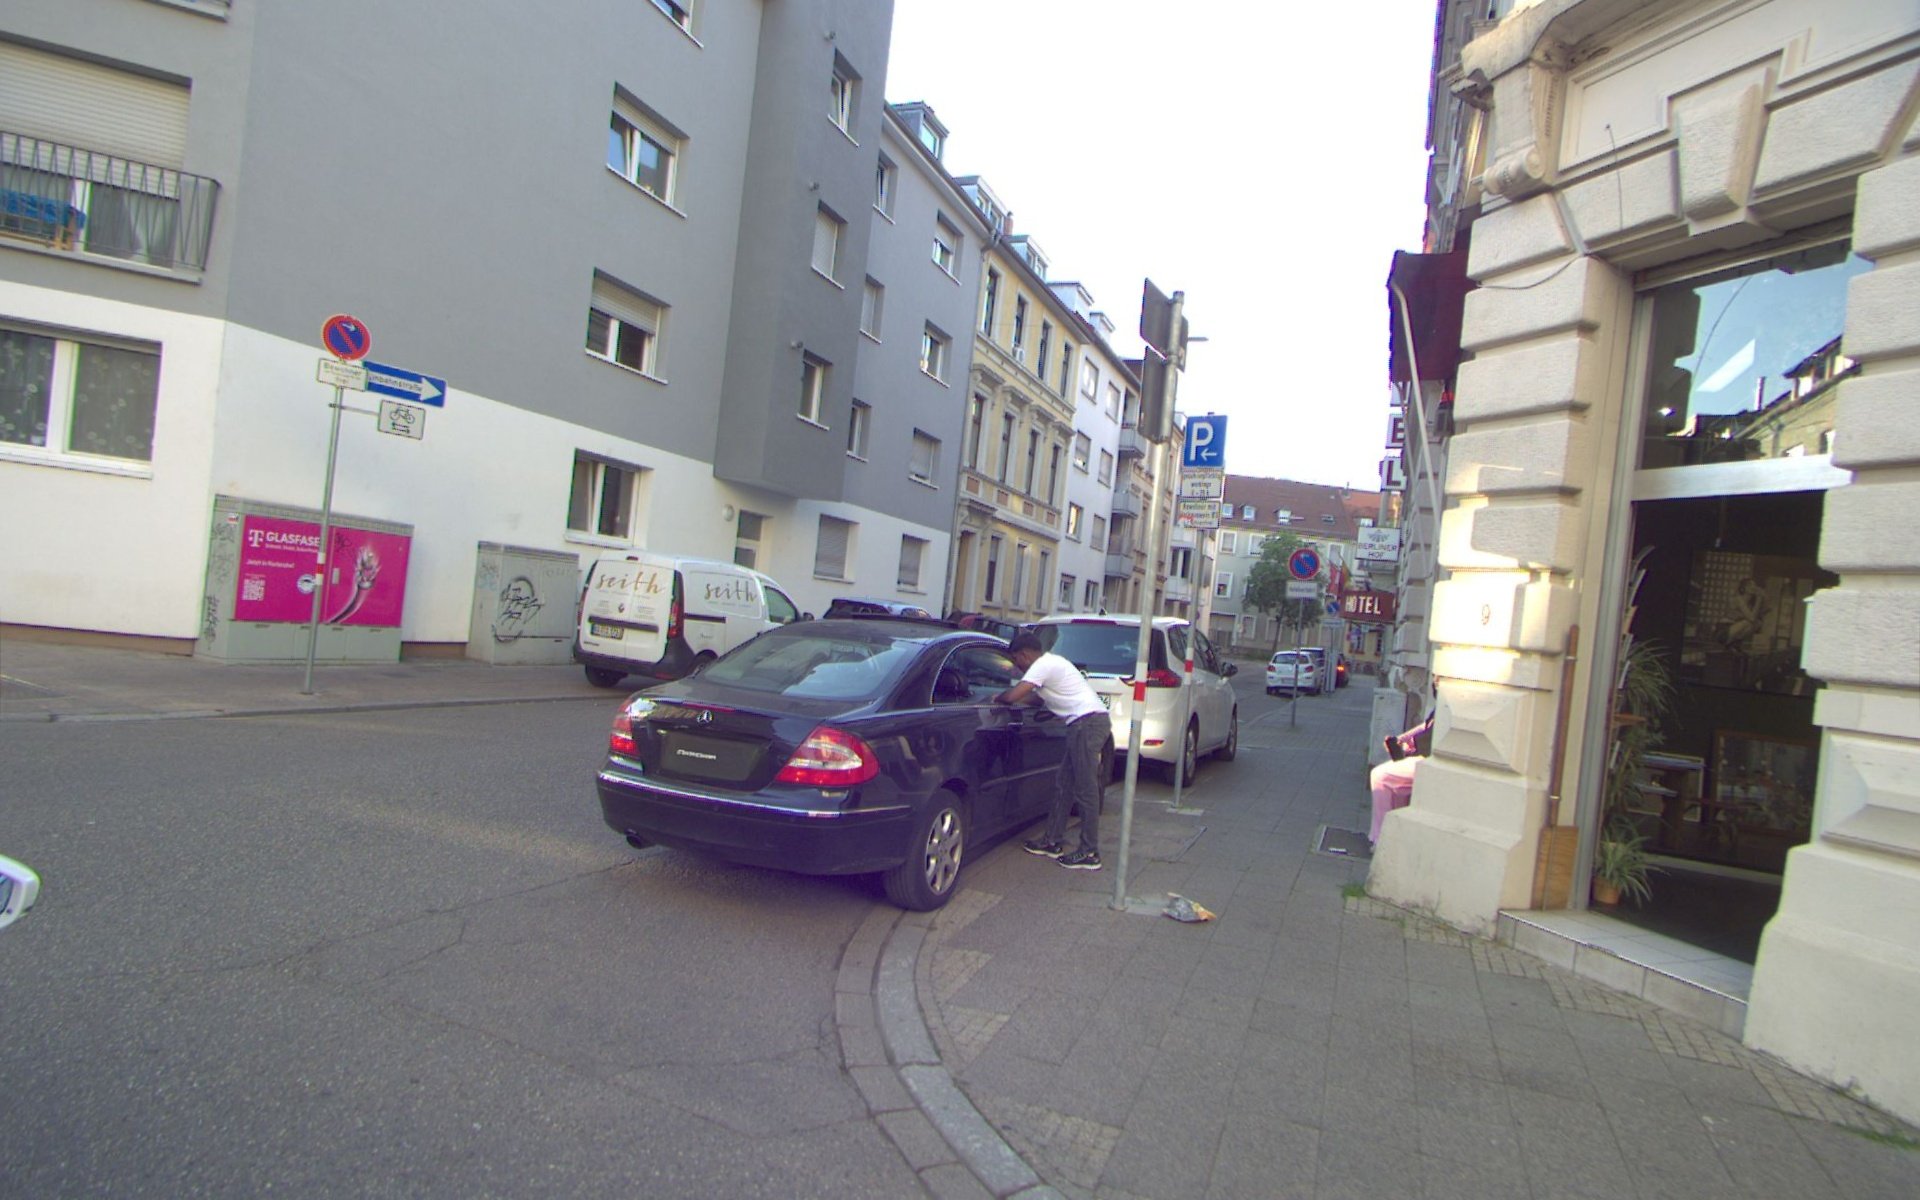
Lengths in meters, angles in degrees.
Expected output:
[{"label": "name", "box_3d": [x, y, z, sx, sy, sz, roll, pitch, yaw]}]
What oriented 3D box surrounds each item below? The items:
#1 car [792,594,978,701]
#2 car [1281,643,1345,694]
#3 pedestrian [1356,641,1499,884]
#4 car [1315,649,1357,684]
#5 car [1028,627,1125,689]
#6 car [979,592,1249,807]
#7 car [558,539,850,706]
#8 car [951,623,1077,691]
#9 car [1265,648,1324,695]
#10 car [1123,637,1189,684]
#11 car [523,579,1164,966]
[{"label": "car", "box_3d": [-1.236, 0.853, 18.759, 1.736, 1.583, 4.365, 6, 0, 19]}, {"label": "car", "box_3d": [14.301, 2.766, 40.596, 1.964, 1.753, 4.058, 6, -1, 24]}, {"label": "pedestrian", "box_3d": [3.162, 1.066, 6.849, 0.704, 1.489, 0.580, 6, 0, 24]}, {"label": "car", "box_3d": [22.429, 3.972, 59.927, 1.964, 1.783, 3.997, 6, 0, 24]}, {"label": "car", "box_3d": [3.548, 1.732, 30.026, 1.702, 1.527, 3.828, 6, 0, 23]}, {"label": "car", "box_3d": [1.963, 1.009, 11.341, 1.790, 1.745, 4.459, 6, 0, 23]}, {"label": "car", "box_3d": [-3.329, 0.356, 13.995, 1.606, 1.836, 4.184, 6, 0, 22]}, {"label": "car", "box_3d": [1.413, 1.436, 24.600, 1.658, 1.347, 4.132, 6, -2, 23]}, {"label": "car", "box_3d": [11.589, 2.444, 34.734, 1.638, 1.476, 3.757, 0, -3, 23]}, {"label": "car", "box_3d": [7.887, 2.399, 40.189, 1.590, 1.589, 4.301, 6, -1, 23]}, {"label": "car", "box_3d": [-0.229, 0.843, 6.656, 1.857, 1.425, 4.725, 6, -1, 26]}]
